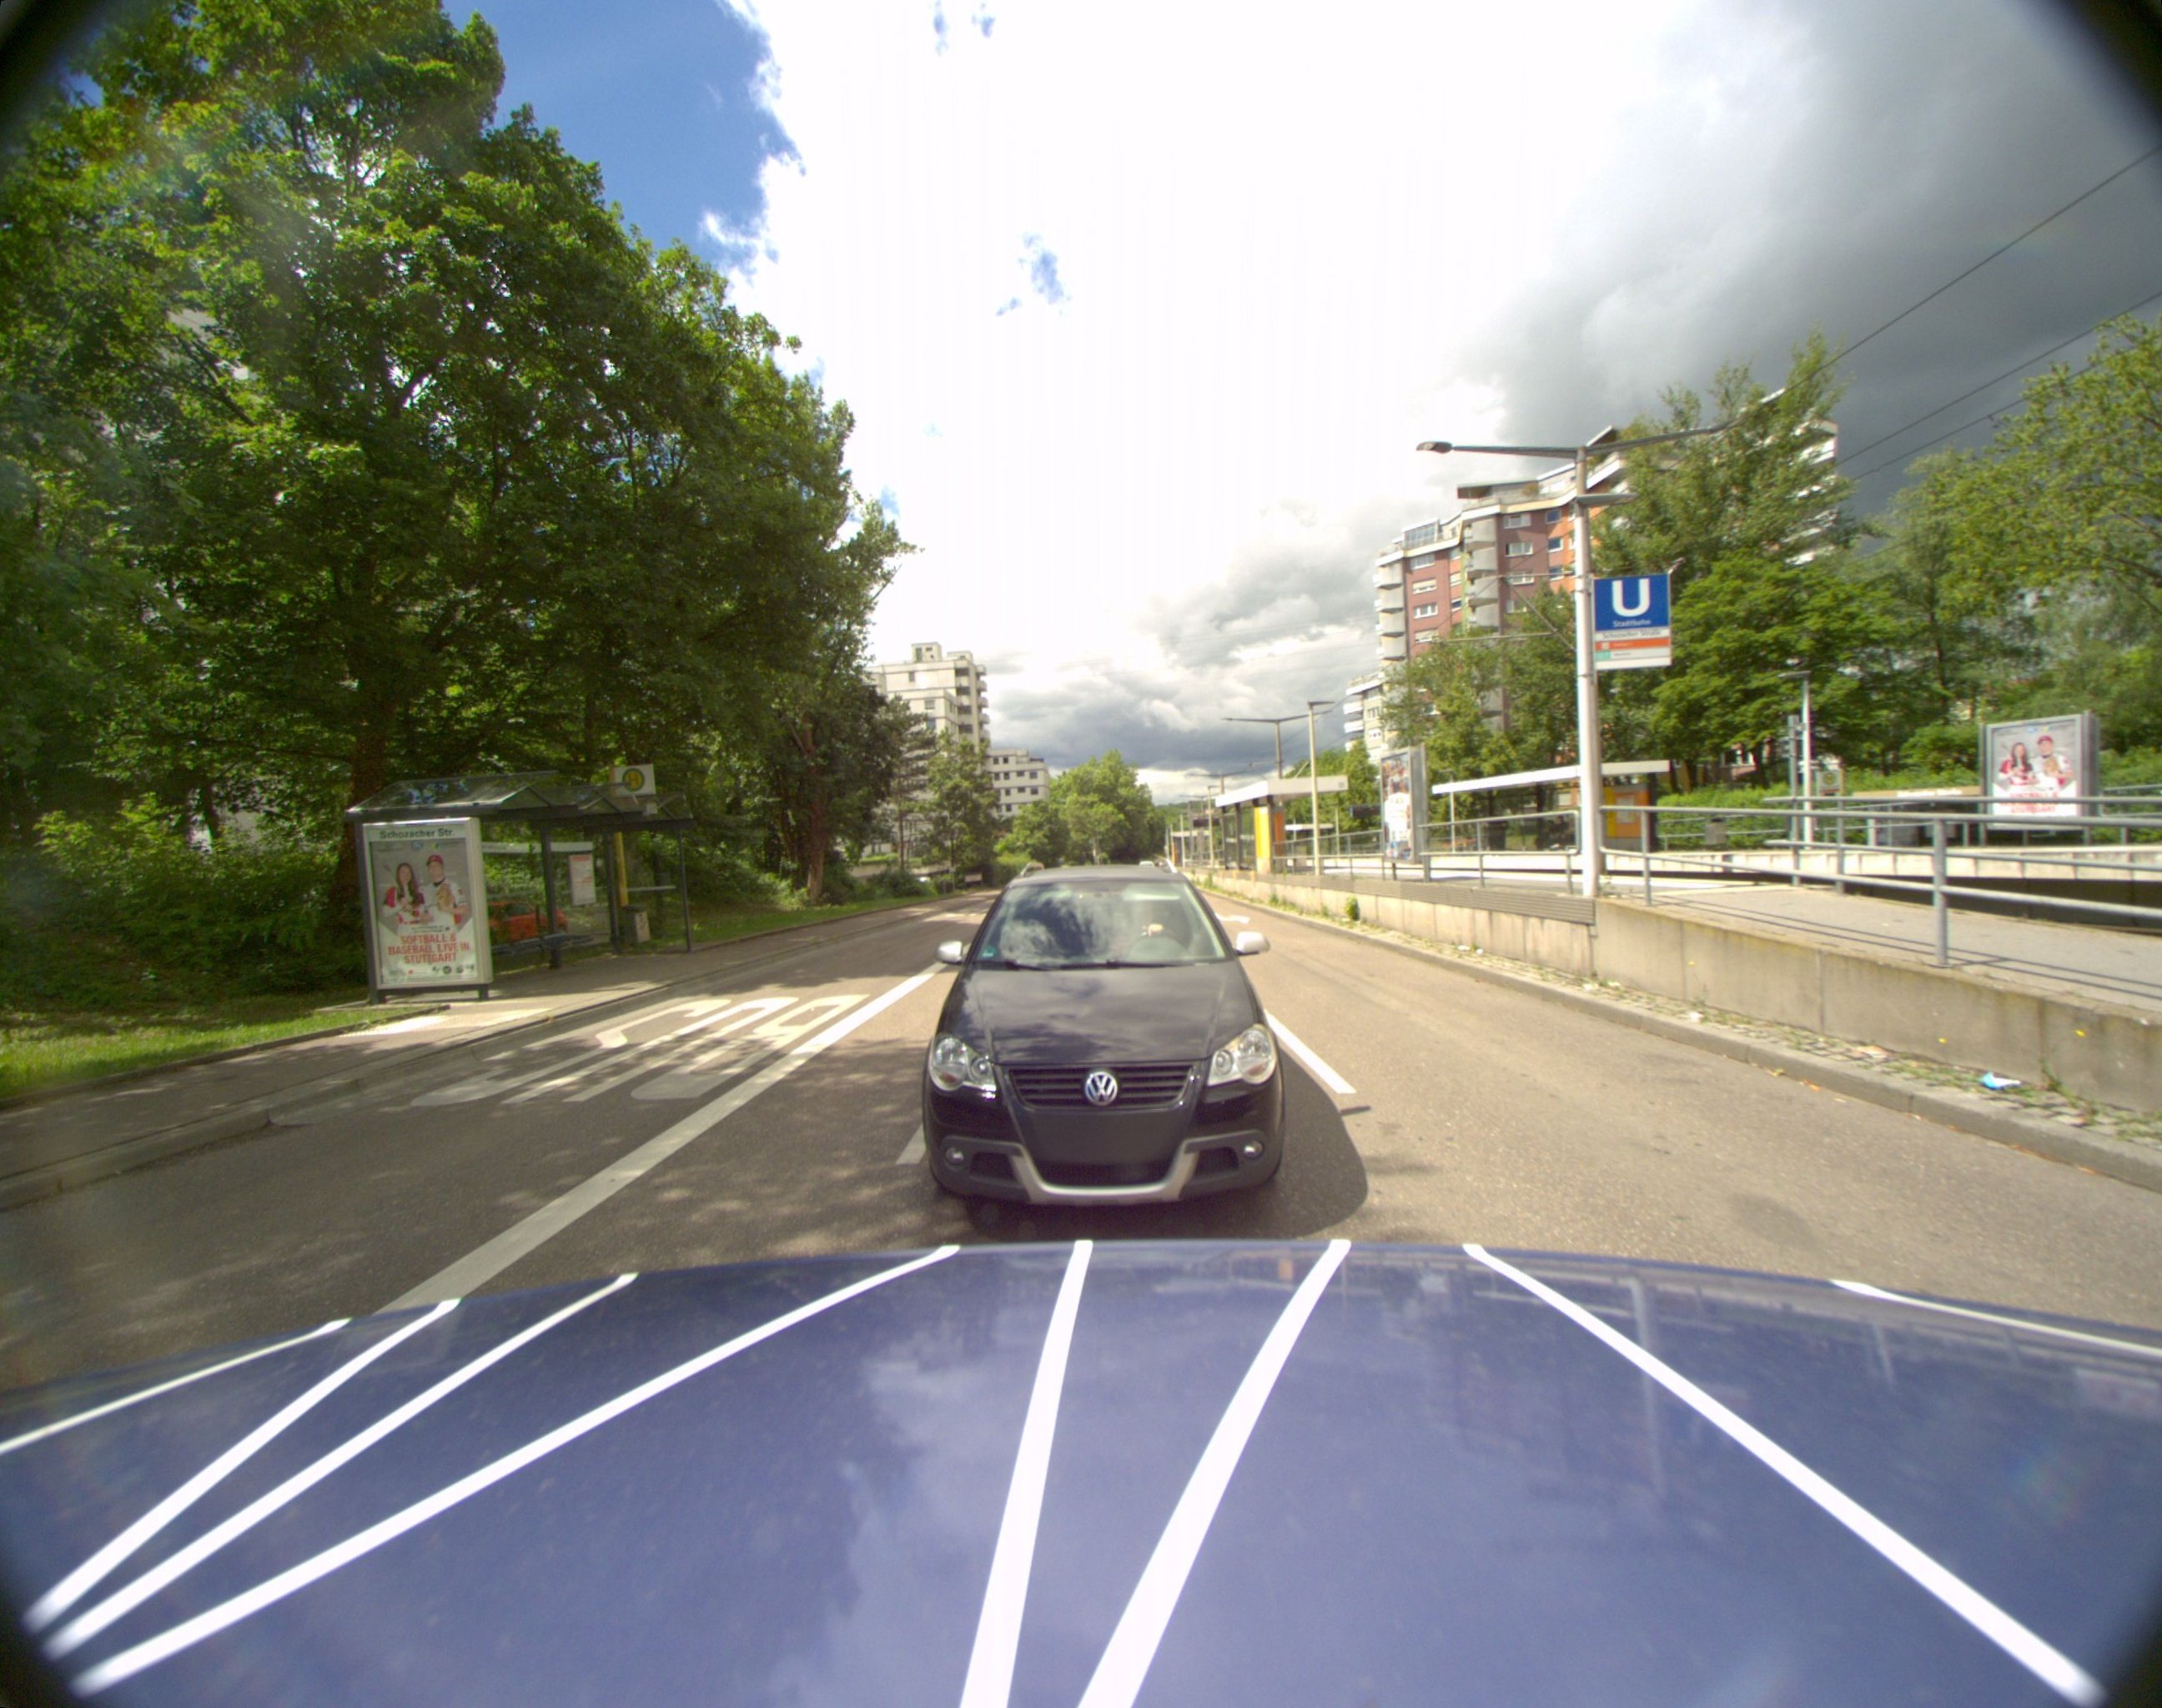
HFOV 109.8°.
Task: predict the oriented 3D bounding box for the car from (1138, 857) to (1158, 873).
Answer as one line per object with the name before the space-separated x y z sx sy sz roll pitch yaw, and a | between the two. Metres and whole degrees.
car | 6.978 1.124 79.440 1.732 1.453 4.000 -2 0 1

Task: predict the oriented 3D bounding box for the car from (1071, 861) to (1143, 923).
car | 0.691 0.974 21.038 1.732 1.453 4.000 -2 0 1

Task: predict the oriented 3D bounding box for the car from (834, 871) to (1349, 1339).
car | 0.074 0.924 4.648 1.732 1.501 4.000 -2 0 1

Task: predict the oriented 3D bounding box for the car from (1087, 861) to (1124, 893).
car | 1.309 1.122 38.846 1.732 1.452 4.001 -2 0 3

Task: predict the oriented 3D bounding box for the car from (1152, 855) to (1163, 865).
car | 12.599 0.944 125.593 1.732 1.505 4.001 -3 0 5
